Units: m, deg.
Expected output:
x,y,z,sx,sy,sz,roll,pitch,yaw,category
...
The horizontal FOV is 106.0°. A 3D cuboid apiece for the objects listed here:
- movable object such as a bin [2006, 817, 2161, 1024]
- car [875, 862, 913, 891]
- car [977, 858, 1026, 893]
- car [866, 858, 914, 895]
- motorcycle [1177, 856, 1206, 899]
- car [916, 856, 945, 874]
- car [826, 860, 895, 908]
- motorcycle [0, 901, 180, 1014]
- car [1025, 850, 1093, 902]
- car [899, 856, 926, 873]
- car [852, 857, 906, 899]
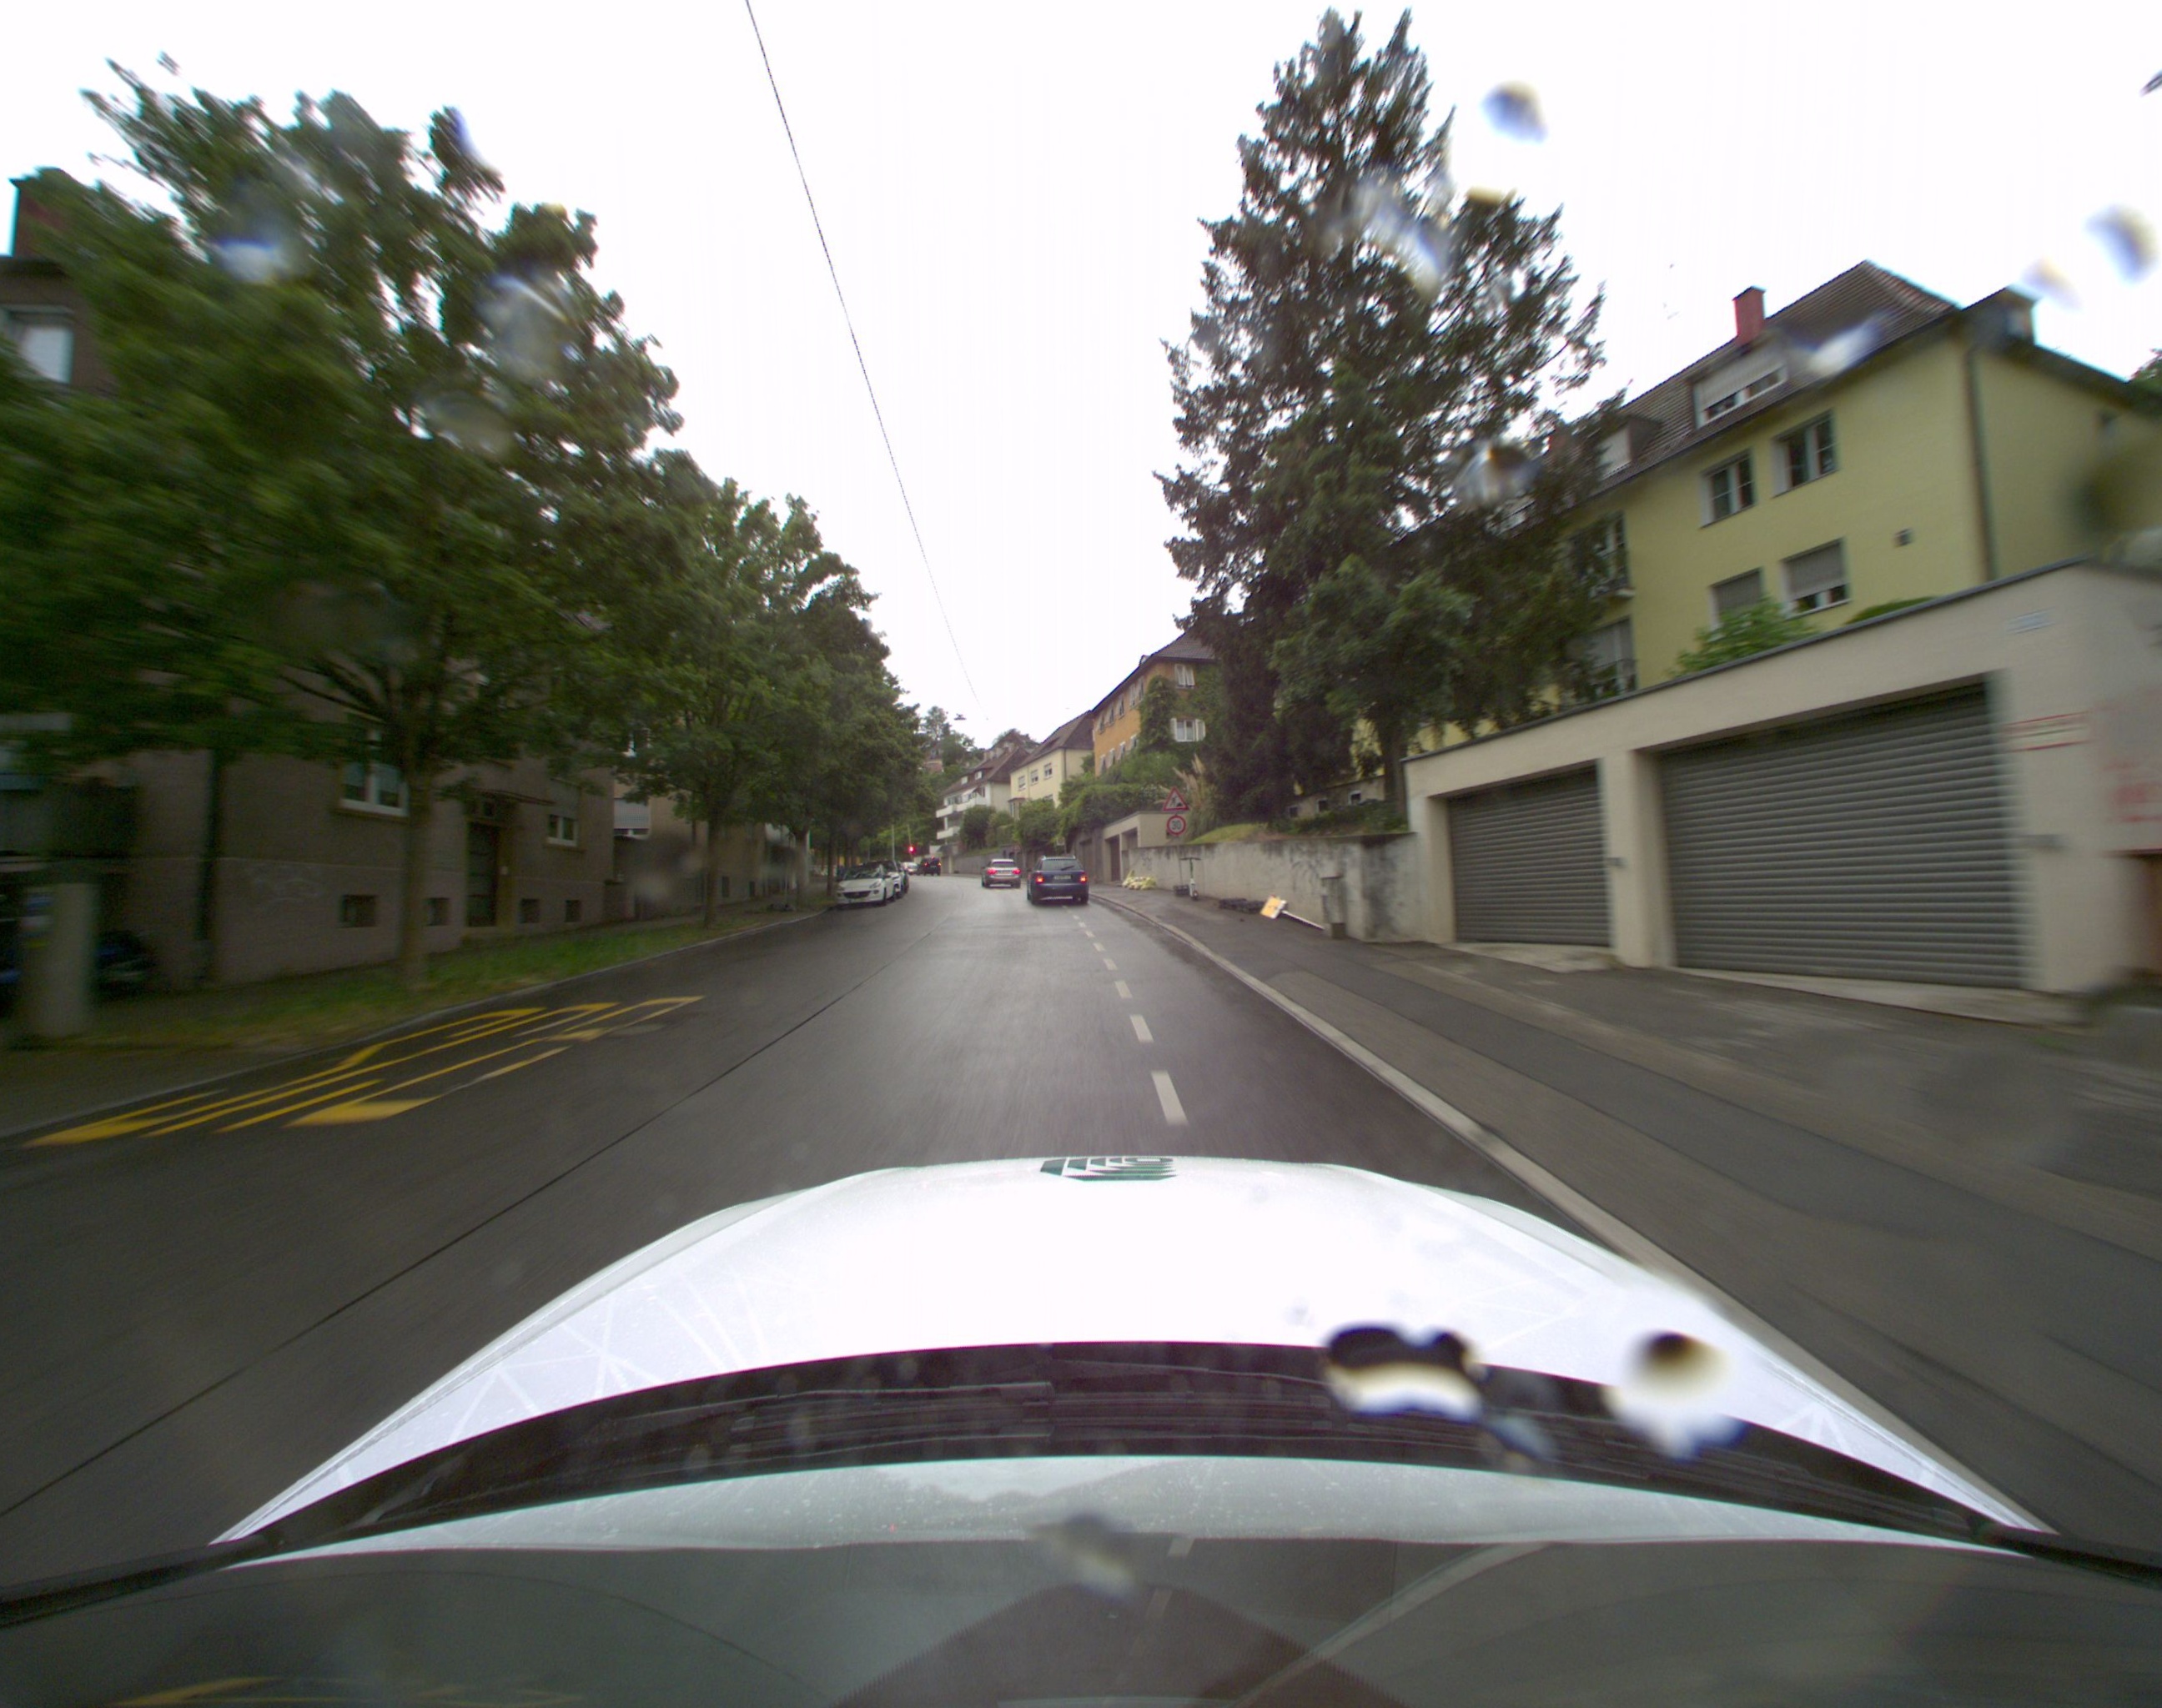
x,y,z,sx,sy,sz,roll,pitch,yaw,category
6.408,0.364,4.888,0.861,1.142,0.795,-3,-1,-16,movable object such as a bin
-10.757,1.290,46.749,1.996,1.475,3.981,-4,-1,-14,car
-4.186,1.063,42.233,1.952,1.561,4.244,-2,2,-13,car
-9.241,1.086,39.630,1.995,1.574,3.985,-4,-1,-11,car
2.998,0.622,22.254,0.546,1.131,1.440,-3,0,0,motorcycle
-15.120,1.092,81.560,2.002,1.684,3.969,-3,0,-23,car
-7.871,1.029,29.392,1.994,1.530,3.985,-3,0,-10,car
-12.396,1.229,10.095,0.613,1.159,1.696,-1,1,-5,motorcycle
-0.781,0.676,25.945,1.851,1.414,4.353,-4,-1,-5,car
-18.297,1.163,88.378,2.004,1.684,3.966,-3,0,-25,car
-8.410,0.974,34.248,1.879,1.596,3.985,-3,0,-10,car
